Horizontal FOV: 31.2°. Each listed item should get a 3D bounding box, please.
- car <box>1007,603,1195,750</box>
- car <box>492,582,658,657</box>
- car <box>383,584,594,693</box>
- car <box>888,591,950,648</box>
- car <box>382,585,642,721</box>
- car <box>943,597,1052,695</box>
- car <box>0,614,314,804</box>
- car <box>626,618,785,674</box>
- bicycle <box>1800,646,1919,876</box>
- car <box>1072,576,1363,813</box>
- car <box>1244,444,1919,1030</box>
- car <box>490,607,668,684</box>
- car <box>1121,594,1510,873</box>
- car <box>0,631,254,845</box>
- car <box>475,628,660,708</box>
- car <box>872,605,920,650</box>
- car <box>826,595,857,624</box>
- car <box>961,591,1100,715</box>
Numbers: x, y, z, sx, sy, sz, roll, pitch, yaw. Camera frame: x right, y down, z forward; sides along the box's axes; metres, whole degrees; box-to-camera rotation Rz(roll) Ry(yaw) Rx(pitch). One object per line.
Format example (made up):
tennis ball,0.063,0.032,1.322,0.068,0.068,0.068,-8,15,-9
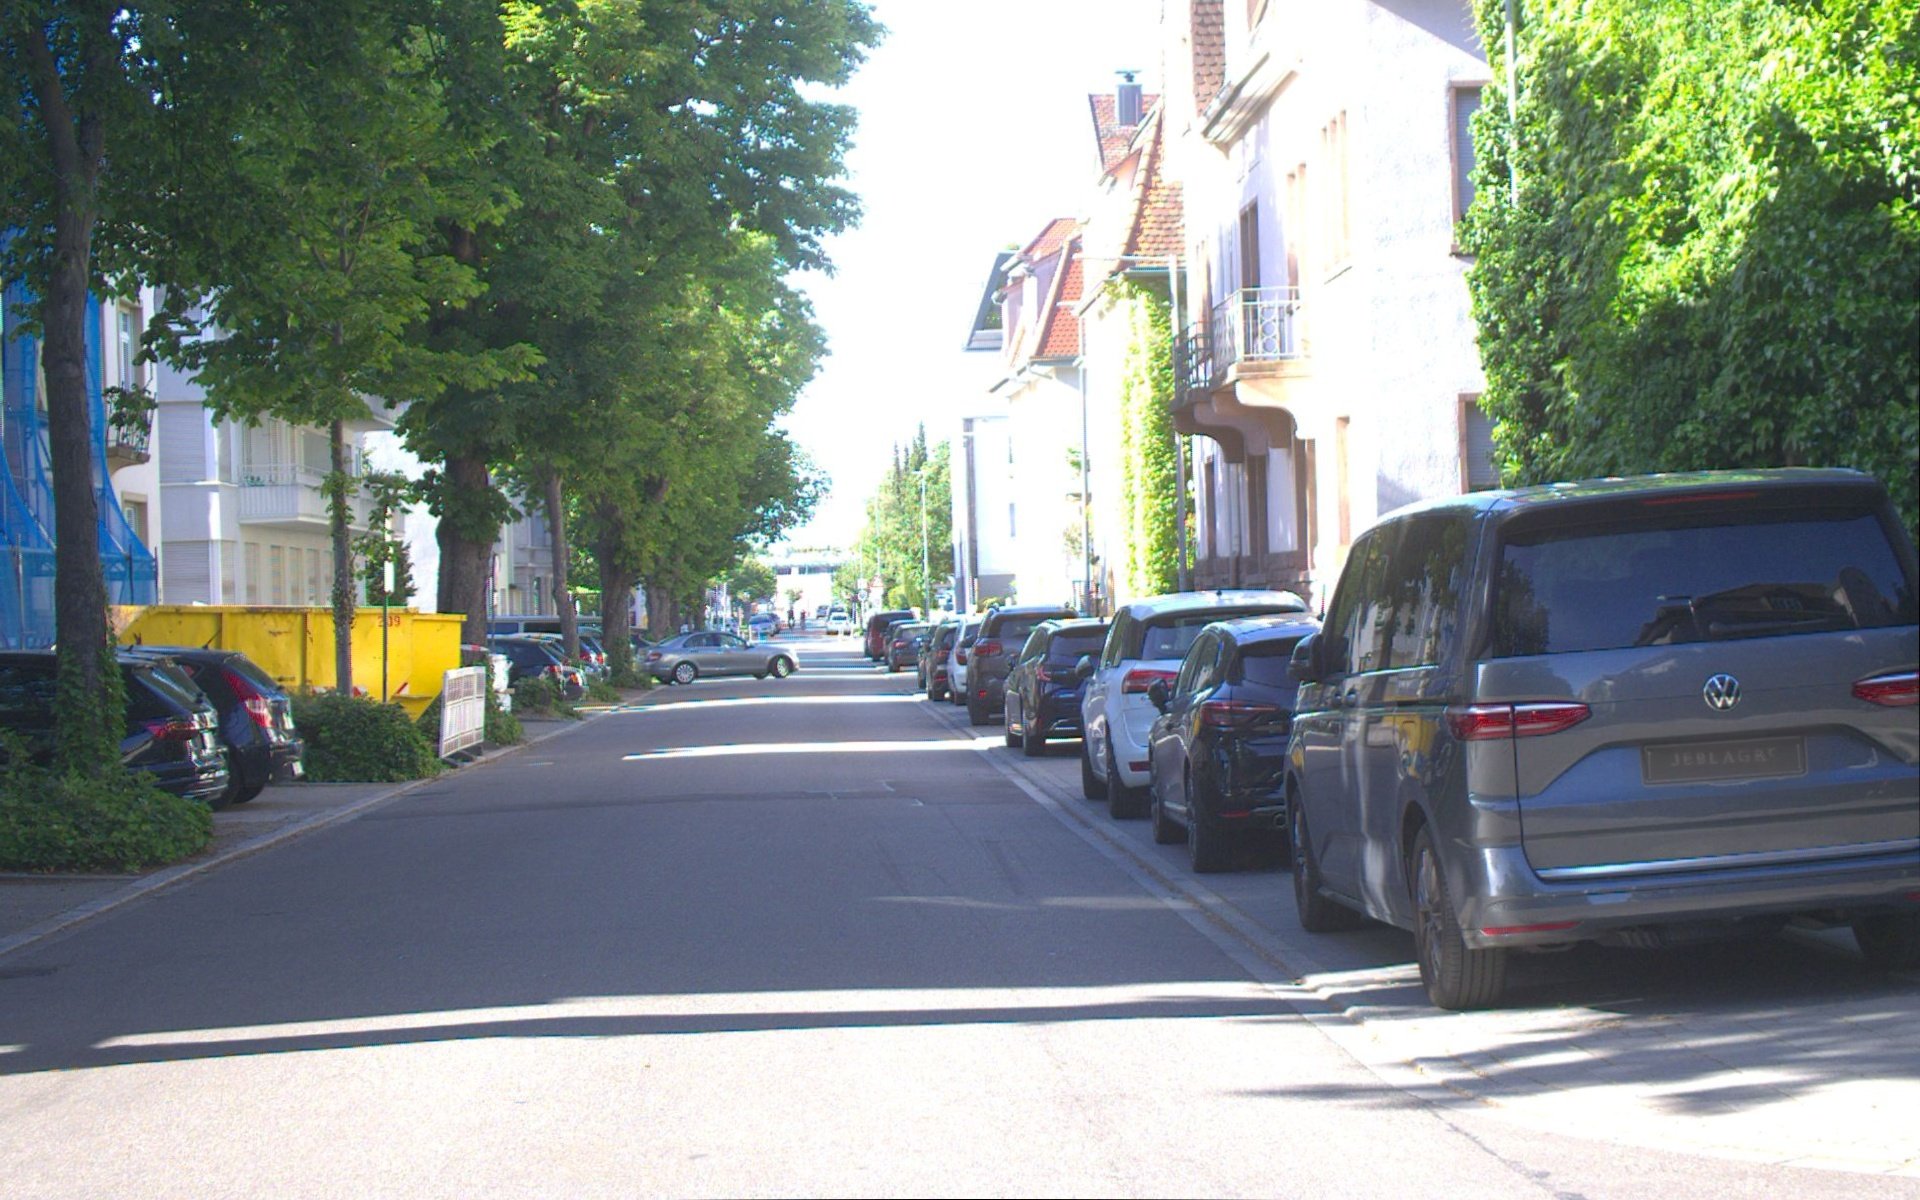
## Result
car,1.483,0.795,37.522,1.771,1.450,3.866,-2,0,-1
car,-9.857,0.490,88.176,4.006,1.835,2.000,1,1,0
car,-9.322,0.754,67.836,3.986,2.007,2.000,-2,0,-10
car,-1.241,0.581,103.136,1.771,1.626,3.866,-2,0,-1
car,-7.184,0.835,54.935,3.986,2.007,2.000,-2,0,-10
car,0.641,0.784,61.066,1.771,1.626,3.866,-2,0,-1
car,-7.825,0.965,30.679,3.986,1.547,1.838,-2,0,-10
car,-6.968,1.242,94.157,3.986,1.404,1.702,-2,0,-20
bicycle,4.679,0.755,16.507,0.588,1.020,2.370,-2,0,-2
car,1.874,0.657,26.089,1.789,1.612,3.866,-2,0,-1
car,2.471,0.449,14.027,1.904,1.864,4.674,-4,0,-2
car,-9.001,1.069,81.454,4.006,1.729,1.894,1,1,0
car,2.033,0.725,20.696,1.690,1.394,3.806,-4,0,-2
car,-7.497,1.040,25.788,3.987,1.464,1.864,-1,1,0
car,-8.994,1.561,79.034,4.006,1.729,1.894,1,1,0
car,-2.442,1.045,131.727,1.771,1.626,3.866,-2,0,-1
car,-6.958,0.575,202.368,1.771,1.626,3.866,-2,0,-1
car,0.962,0.716,48.683,1.771,1.626,3.866,-2,0,-1
